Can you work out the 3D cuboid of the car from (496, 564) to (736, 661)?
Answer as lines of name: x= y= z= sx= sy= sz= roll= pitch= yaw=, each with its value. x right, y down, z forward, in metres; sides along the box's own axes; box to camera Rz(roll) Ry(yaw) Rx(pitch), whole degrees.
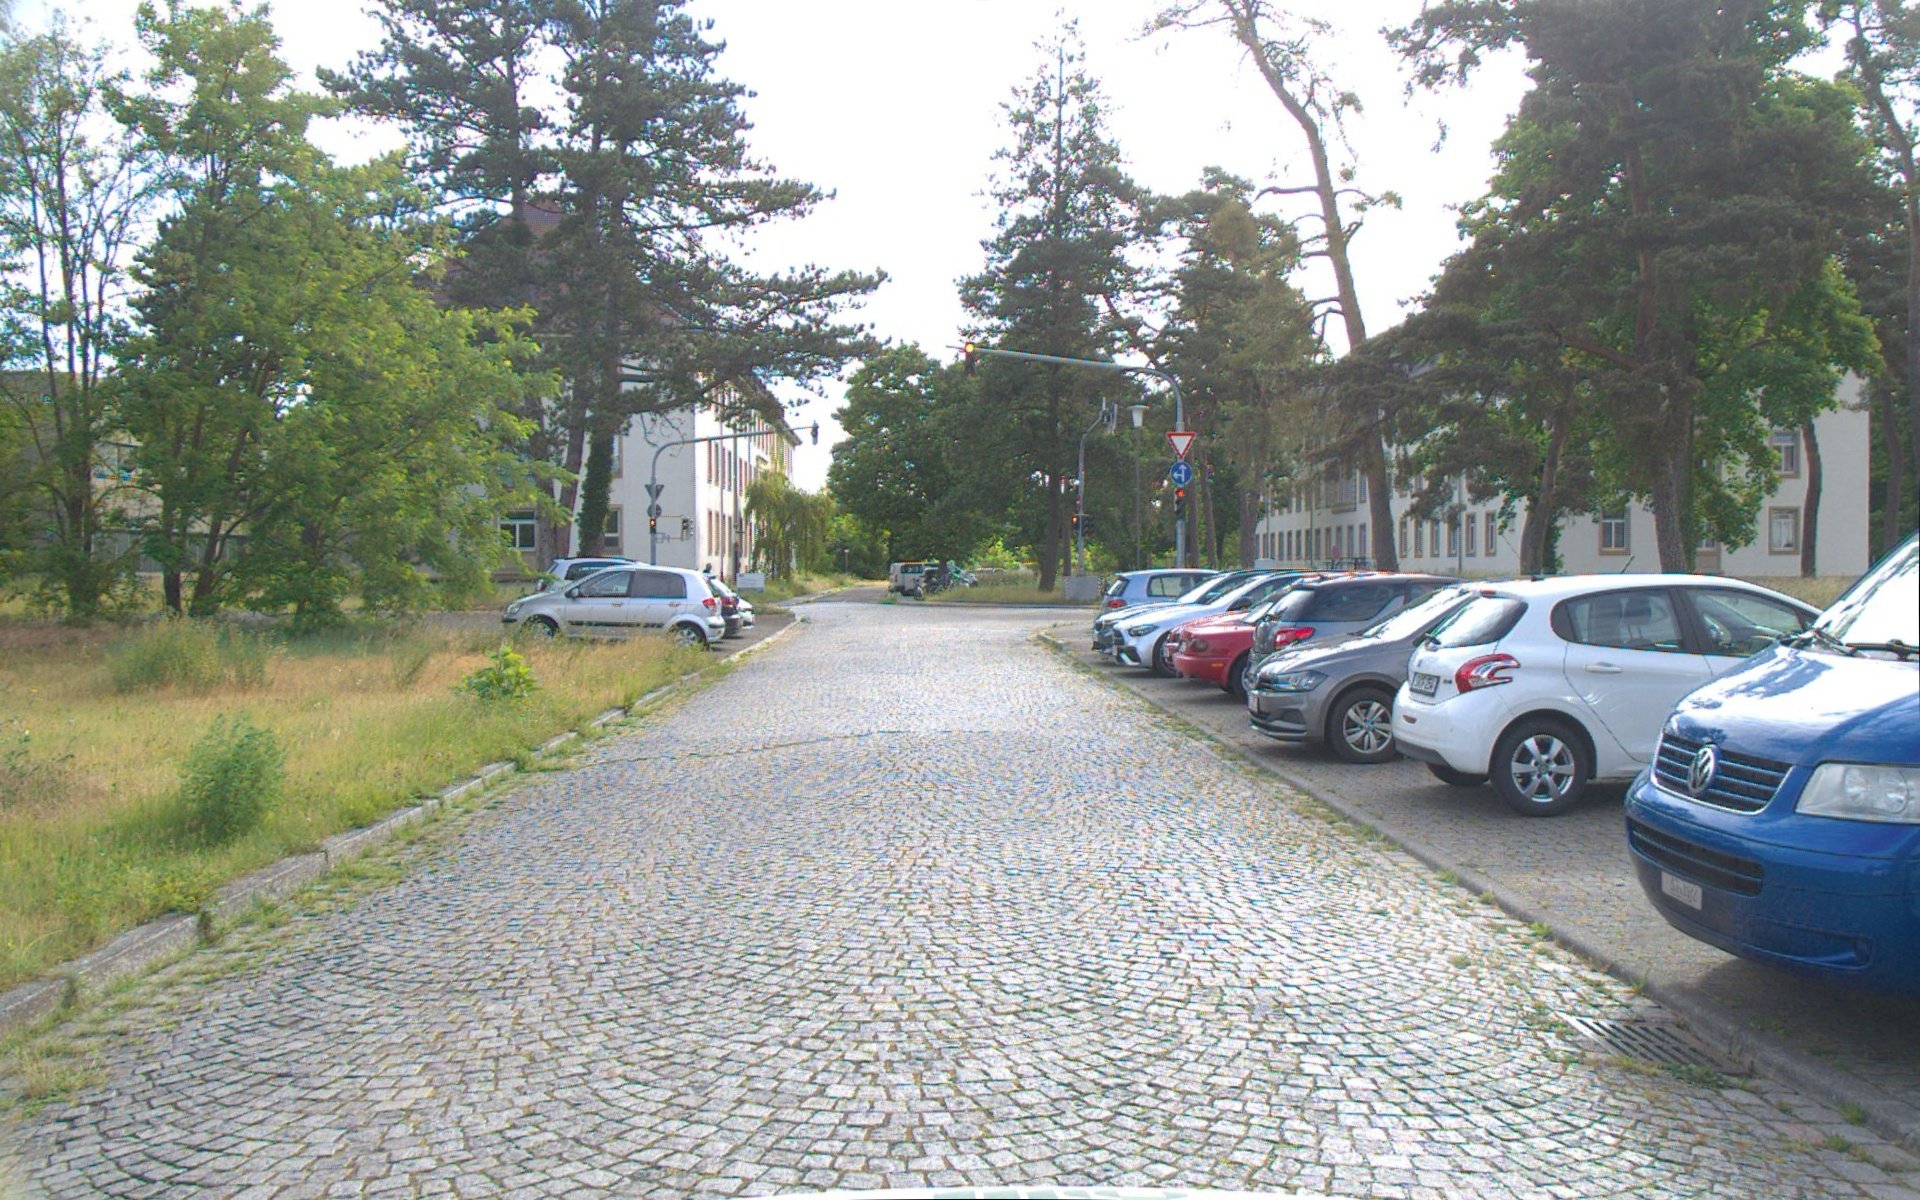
car: x=-5.836 y=0.181 z=28.520 sx=3.912 sy=1.579 sz=1.997 roll=0 pitch=1 yaw=-8

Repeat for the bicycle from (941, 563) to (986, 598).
bicycle: x=0.171 y=-0.942 z=79.816 sx=2.120 sy=1.644 sz=0.811 roll=0 pitch=1 yaw=-9

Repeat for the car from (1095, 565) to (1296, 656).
car: x=4.200 y=0.159 z=29.685 sx=3.325 sy=1.570 sz=1.389 roll=0 pitch=1 yaw=-8

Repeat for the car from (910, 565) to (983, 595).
car: x=-0.791 y=-1.146 z=93.032 sx=3.912 sy=1.673 sz=1.997 roll=0 pitch=1 yaw=-8

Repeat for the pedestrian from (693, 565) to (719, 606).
pedestrian: x=-9.585 y=-0.545 z=62.426 sx=0.880 sy=1.524 sz=0.904 roll=0 pitch=1 yaw=-1

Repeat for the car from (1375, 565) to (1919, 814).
car: x=4.660 y=0.541 z=11.249 sx=3.227 sy=1.531 sz=1.663 roll=0 pitch=1 yaw=-4

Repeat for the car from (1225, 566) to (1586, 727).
car: x=4.562 y=0.425 z=17.115 sx=3.235 sy=1.530 sz=1.659 roll=-1 pitch=1 yaw=-13

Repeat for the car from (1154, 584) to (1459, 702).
car: x=4.099 y=0.480 z=19.814 sx=3.230 sy=1.289 sz=1.661 roll=0 pitch=1 yaw=-8

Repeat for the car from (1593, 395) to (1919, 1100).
car: x=4.907 y=0.409 z=5.862 sx=4.687 sy=2.075 sz=1.737 roll=0 pitch=1 yaw=-3

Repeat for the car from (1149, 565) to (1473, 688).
car: x=4.634 y=0.316 z=22.081 sx=3.912 sy=1.570 sz=1.661 roll=0 pitch=1 yaw=-8

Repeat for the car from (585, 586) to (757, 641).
car: x=-6.277 y=0.277 z=36.186 sx=3.602 sy=1.113 sz=1.643 roll=0 pitch=1 yaw=-8

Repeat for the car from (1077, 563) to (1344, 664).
car: x=4.061 y=0.192 z=27.108 sx=4.045 sy=1.570 sz=1.661 roll=0 pitch=1 yaw=-8

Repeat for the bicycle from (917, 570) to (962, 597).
bicycle: x=-0.991 y=-0.788 z=80.276 sx=2.120 sy=1.290 sz=0.811 roll=0 pitch=1 yaw=-9

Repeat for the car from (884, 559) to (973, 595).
car: x=-1.846 y=-1.323 z=96.268 sx=4.962 sy=2.049 sz=1.994 roll=0 pitch=1 yaw=-13

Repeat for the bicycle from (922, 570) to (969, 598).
bicycle: x=-0.695 y=-0.770 z=78.486 sx=2.120 sy=1.290 sz=0.811 roll=0 pitch=1 yaw=-9

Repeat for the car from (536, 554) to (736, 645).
car: x=-6.578 y=-0.032 z=33.950 sx=3.913 sy=1.780 sz=1.923 roll=0 pitch=1 yaw=-9

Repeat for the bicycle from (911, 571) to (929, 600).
bicycle: x=-1.799 y=-0.662 z=74.683 sx=0.793 sy=1.290 sz=1.973 roll=0 pitch=1 yaw=-1

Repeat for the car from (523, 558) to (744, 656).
car: x=-6.030 y=0.100 z=30.966 sx=3.912 sy=1.735 sz=1.997 roll=0 pitch=1 yaw=-8

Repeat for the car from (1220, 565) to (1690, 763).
car: x=4.195 y=0.480 z=14.221 sx=3.535 sy=1.533 sz=1.659 roll=-1 pitch=1 yaw=-13

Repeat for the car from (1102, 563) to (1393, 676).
car: x=4.176 y=0.246 z=24.300 sx=3.912 sy=1.570 sz=1.661 roll=0 pitch=1 yaw=-8

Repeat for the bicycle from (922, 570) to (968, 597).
bicycle: x=-0.718 y=-0.775 z=79.073 sx=2.120 sy=1.290 sz=0.811 roll=0 pitch=1 yaw=-9
